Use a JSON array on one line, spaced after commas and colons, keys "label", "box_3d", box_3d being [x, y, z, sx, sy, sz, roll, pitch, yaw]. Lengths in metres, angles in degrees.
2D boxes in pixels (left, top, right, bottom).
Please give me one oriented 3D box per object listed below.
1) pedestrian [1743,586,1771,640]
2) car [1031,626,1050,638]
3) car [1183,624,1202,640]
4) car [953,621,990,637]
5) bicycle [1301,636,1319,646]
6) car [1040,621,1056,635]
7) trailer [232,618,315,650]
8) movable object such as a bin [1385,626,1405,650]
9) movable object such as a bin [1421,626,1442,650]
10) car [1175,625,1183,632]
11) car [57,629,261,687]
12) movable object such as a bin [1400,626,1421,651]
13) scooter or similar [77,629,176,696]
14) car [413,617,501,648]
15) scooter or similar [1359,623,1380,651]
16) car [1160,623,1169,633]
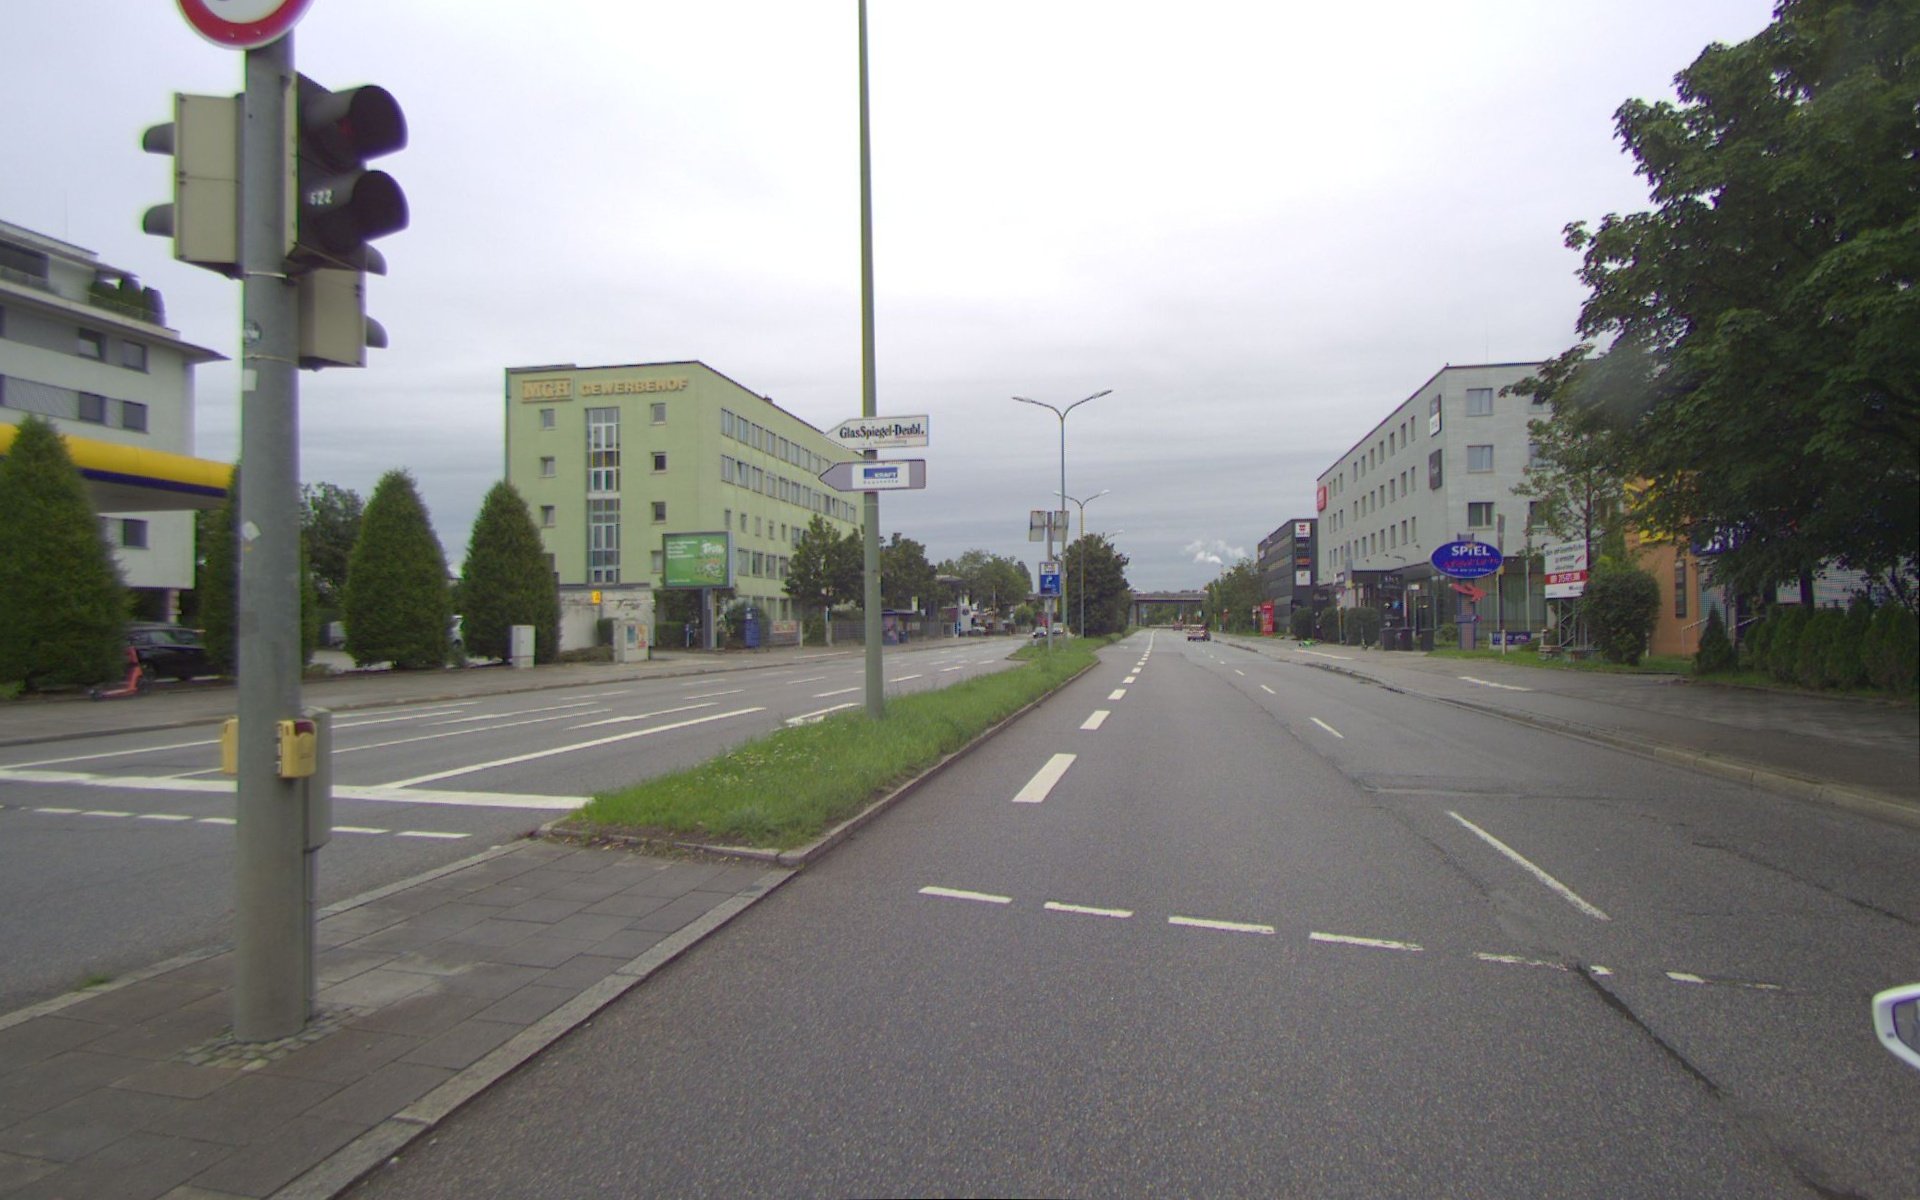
[{"label": "pedestrian", "box_3d": [26.006, 0.438, 32.787, 0.650, 1.734, 0.660, -2, -1, 37]}, {"label": "car", "box_3d": [10.532, 4.192, 130.659, 1.959, 1.420, 4.658, -2, -2, 10]}, {"label": "car", "box_3d": [23.621, 3.263, 102.238, 1.783, 1.578, 4.029, 0, -1, 12]}, {"label": "car", "box_3d": [1.457, 3.803, 131.477, 4.565, 1.867, 1.797, -1, -1, -12]}, {"label": "bicycle", "box_3d": [20.975, 2.455, 60.246, 0.707, 0.556, 1.733, -4, -2, 11]}, {"label": "car", "box_3d": [13.110, 4.178, 149.221, 1.959, 1.986, 4.327, -2, -1, 10]}, {"label": "trailer", "box_3d": [-38.257, 1.908, 56.003, 3.732, 1.672, 1.636, -2, -1, 10]}, {"label": "movable object such as a bin", "box_3d": [20.397, 1.791, 47.135, 0.724, 1.092, 0.656, -2, -1, 12]}, {"label": "movable object such as a bin", "box_3d": [21.815, 1.764, 46.448, 0.724, 1.092, 0.656, -2, -1, 12]}, {"label": "car", "box_3d": [47.727, 6.162, 218.787, 1.706, 1.568, 4.307, 1, -1, 11]}, {"label": "car", "box_3d": [-20.715, 1.464, 26.205, 1.764, 1.349, 4.003, -2, -2, 10]}, {"label": "movable object such as a bin", "box_3d": [20.793, 1.779, 46.341, 0.724, 1.092, 0.656, -2, -1, 12]}, {"label": "scooter or similar", "box_3d": [-16.466, 1.208, 19.892, 0.350, 1.259, 1.546, 2, 0, 16]}, {"label": "car", "box_3d": [-24.945, 1.592, 49.970, 1.794, 1.457, 4.003, -2, -2, 11]}, {"label": "scooter or similar", "box_3d": [20.173, 1.815, 49.517, 0.576, 1.294, 1.405, -5, -2, 11]}, {"label": "car", "box_3d": [44.585, 6.068, 219.118, 1.781, 2.040, 3.836, 1, -1, 13]}]
